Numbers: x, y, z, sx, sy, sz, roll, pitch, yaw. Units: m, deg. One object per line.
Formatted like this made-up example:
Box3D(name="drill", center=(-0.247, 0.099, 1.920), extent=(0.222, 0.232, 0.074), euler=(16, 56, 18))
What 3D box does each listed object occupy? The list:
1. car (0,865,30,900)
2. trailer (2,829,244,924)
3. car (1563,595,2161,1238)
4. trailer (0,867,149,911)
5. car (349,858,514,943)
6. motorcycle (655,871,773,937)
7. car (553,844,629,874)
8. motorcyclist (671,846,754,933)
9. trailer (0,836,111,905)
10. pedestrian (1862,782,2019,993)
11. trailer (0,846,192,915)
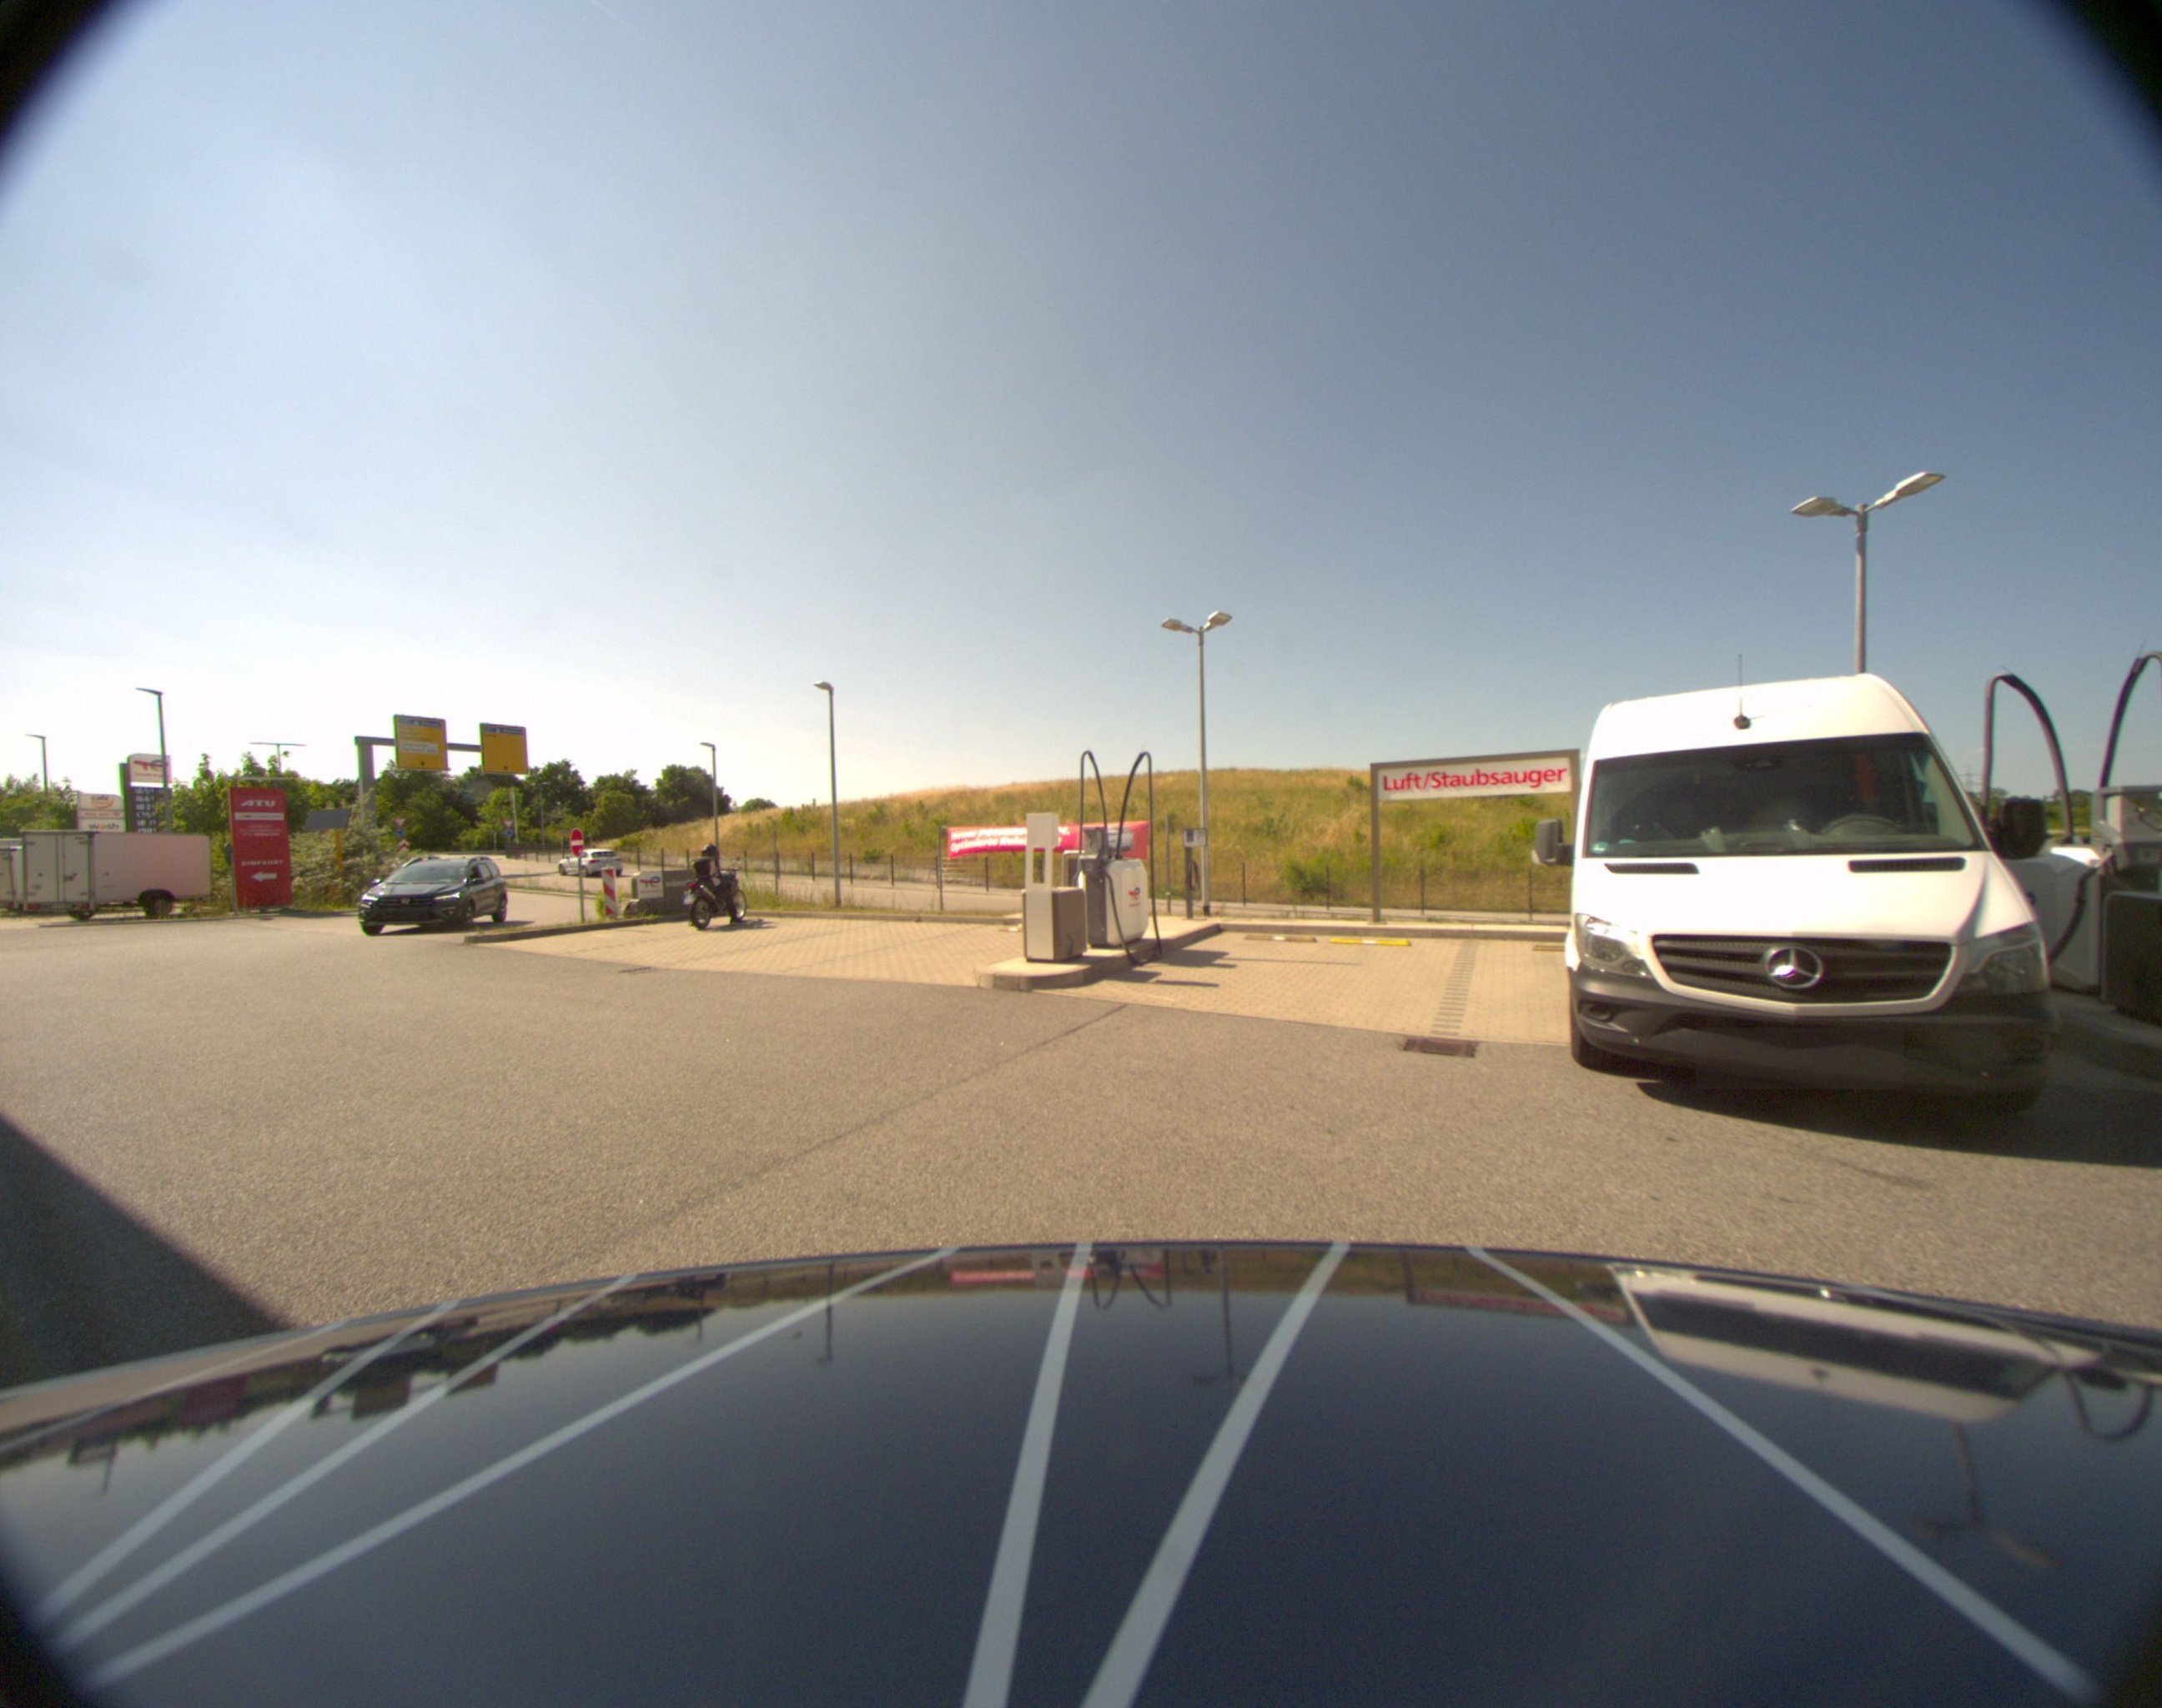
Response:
Box3D(name="car", center=(-41.421, 1.108, 27.438), extent=(1.681, 1.310, 3.833), euler=(-1, 1, -4))
Box3D(name="trailer", center=(-26.903, 0.552, 21.611), extent=(2.000, 2.413, 3.996), euler=(-1, 1, -8))
Box3D(name="car", center=(5.485, 0.072, 6.436), extent=(1.994, 2.557, 7.042), euler=(0, 3, 35))
Box3D(name="trailer", center=(-34.176, 1.127, 25.288), extent=(1.577, 1.273, 3.720), euler=(-1, 1, 5))
Box3D(name="car", center=(-14.890, 0.947, 17.733), extent=(1.746, 1.635, 4.622), euler=(-2, 1, -26))
Box3D(name="motorcycle", center=(-7.364, 0.967, 15.449), extent=(1.044, 1.100, 2.416), euler=(-1, 2, 5))
Box3D(name="car", center=(-25.890, 0.230, 40.146), extent=(4.083, 1.416, 1.710), euler=(1, 2, 31))
Box3D(name="motorcyclist", center=(-7.377, 0.685, 15.274), extent=(1.033, 1.678, 1.099), euler=(-1, 1, 5))
Box3D(name="trailer", center=(-38.946, 0.590, 27.656), extent=(1.998, 2.413, 4.000), euler=(-1, 1, 2))
Box3D(name="pedestrian", center=(7.706, 0.268, 6.825), extent=(0.846, 1.760, 0.708), euler=(-2, 1, -24))
Box3D(name="trailer", center=(-31.740, 0.771, 24.260), extent=(1.801, 2.002, 4.001), euler=(-1, 1, 5))
